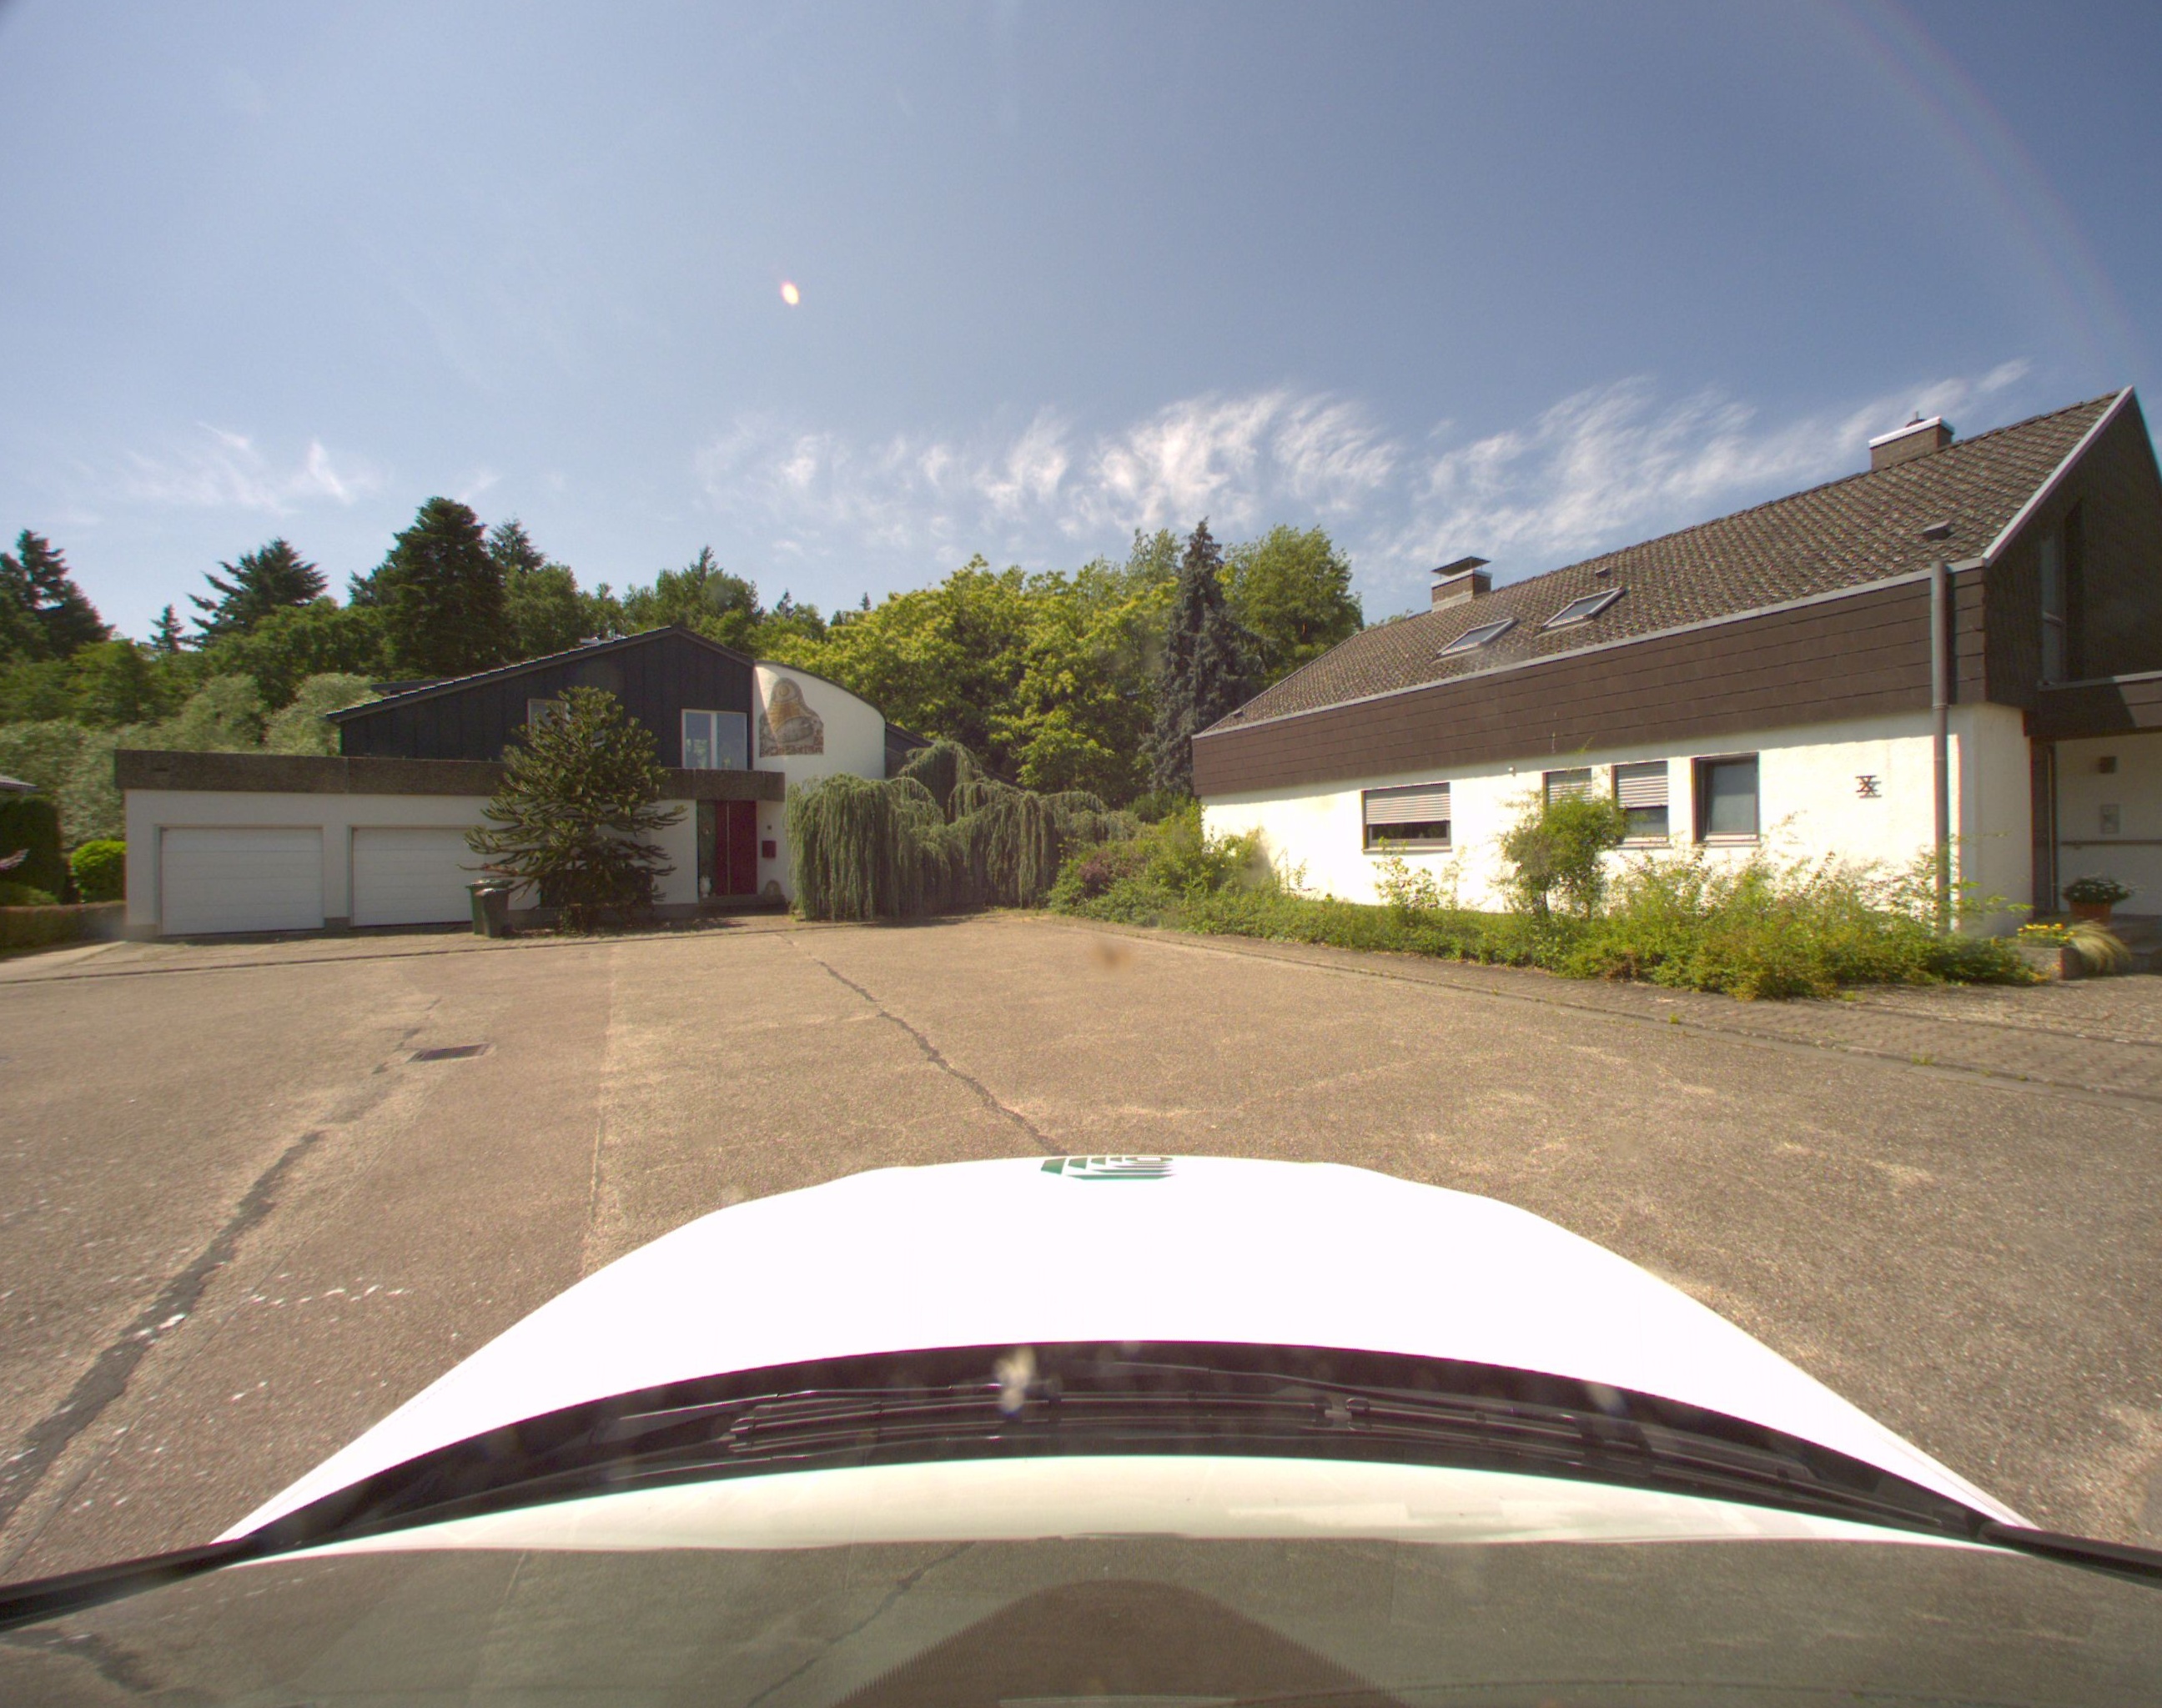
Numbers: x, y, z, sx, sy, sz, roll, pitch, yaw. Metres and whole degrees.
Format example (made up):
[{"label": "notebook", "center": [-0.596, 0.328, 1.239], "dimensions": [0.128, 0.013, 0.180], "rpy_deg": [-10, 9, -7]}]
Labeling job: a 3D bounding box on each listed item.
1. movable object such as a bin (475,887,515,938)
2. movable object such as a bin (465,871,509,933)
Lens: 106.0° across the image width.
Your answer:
[{"label": "movable object such as a bin", "center": [-11.421, 1.136, 15.872], "dimensions": [0.384, 0.950, 0.527], "rpy_deg": [-1, 0, 35]}, {"label": "movable object such as a bin", "center": [-11.956, 0.960, 16.416], "dimensions": [0.635, 1.203, 0.546], "rpy_deg": [-1, 0, -28]}]
